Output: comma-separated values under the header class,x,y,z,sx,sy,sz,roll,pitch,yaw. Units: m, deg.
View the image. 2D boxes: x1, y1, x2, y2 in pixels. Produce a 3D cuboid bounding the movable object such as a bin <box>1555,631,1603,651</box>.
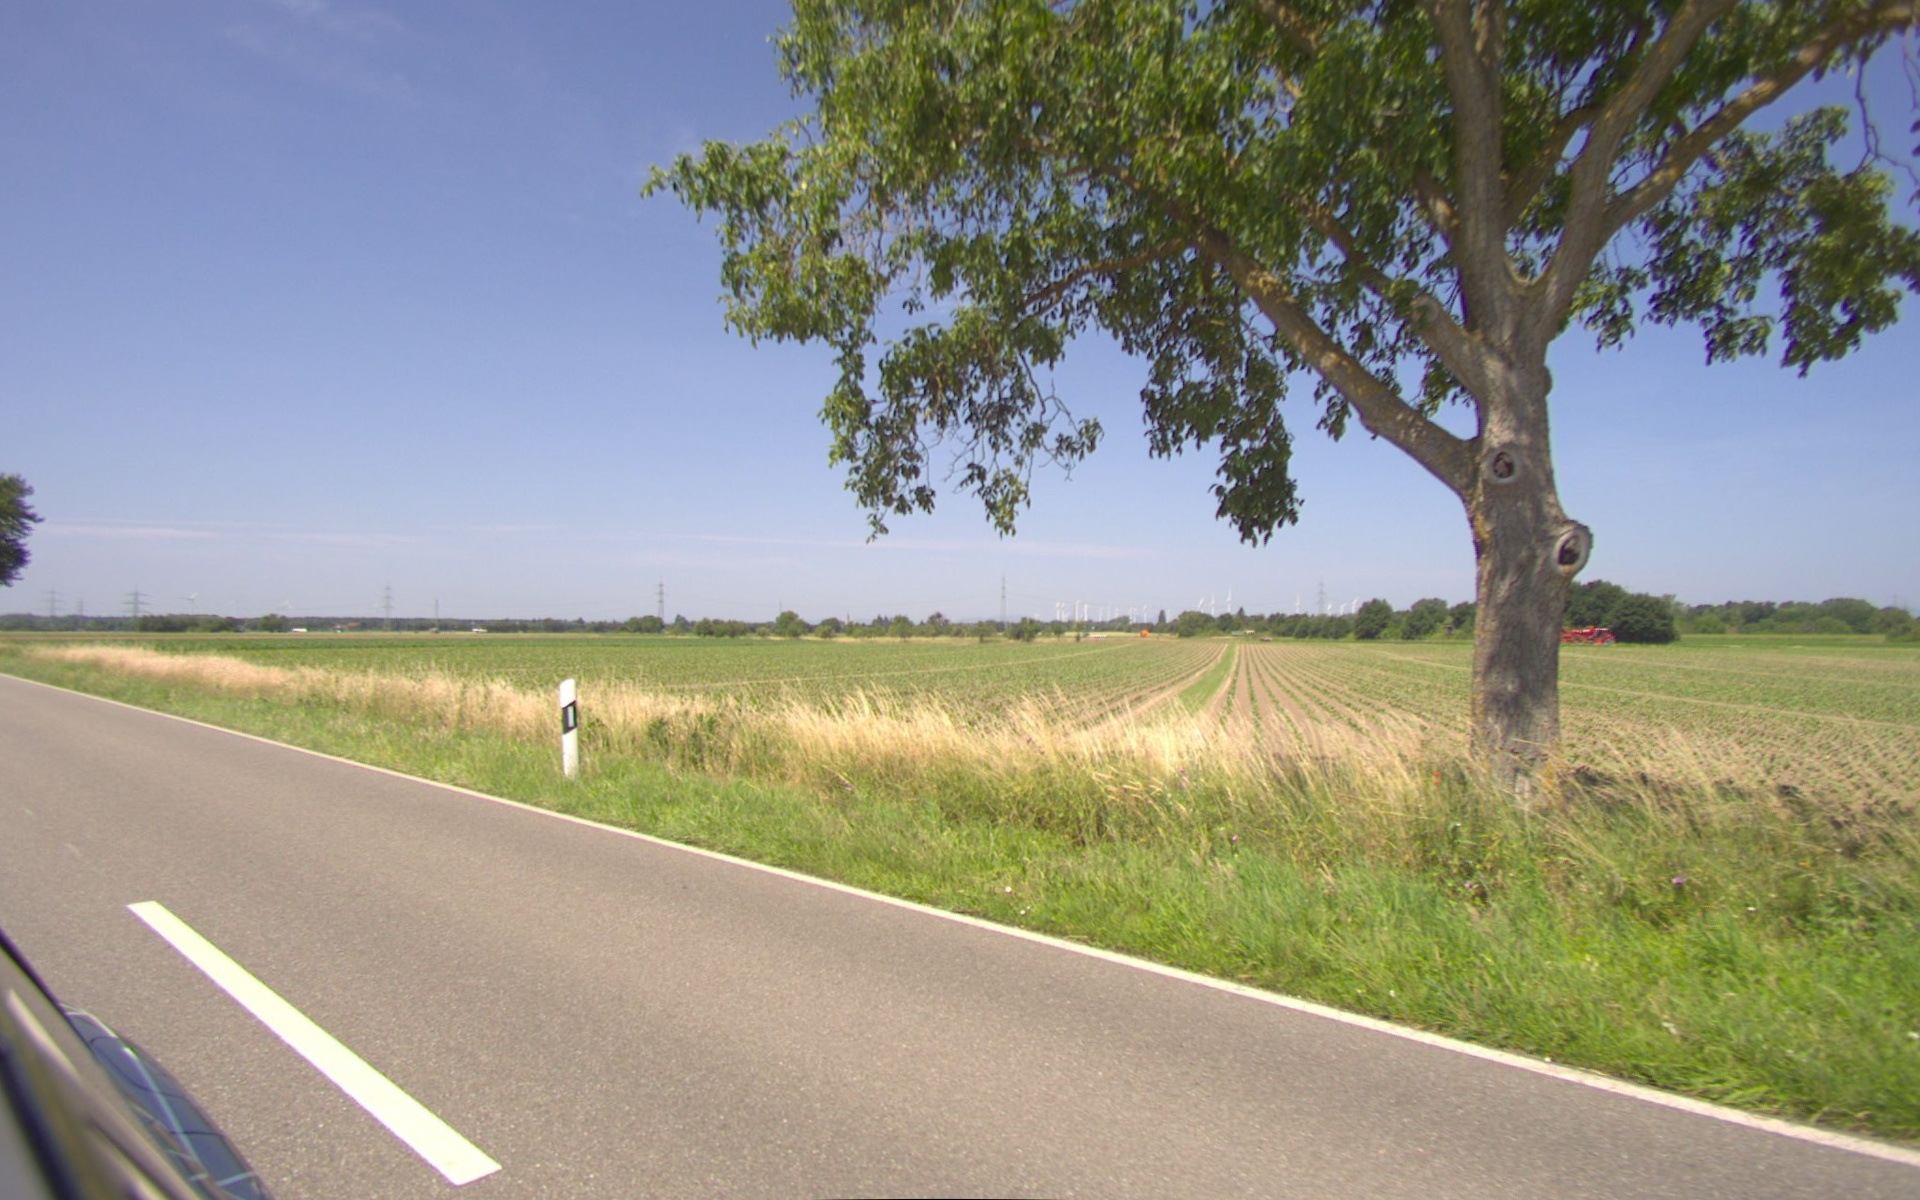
class,x,y,z,sx,sy,sz,roll,pitch,yaw
movable object such as a bin,129.984,8.645,212.587,2.506,3.879,9.999,1,-3,-10
